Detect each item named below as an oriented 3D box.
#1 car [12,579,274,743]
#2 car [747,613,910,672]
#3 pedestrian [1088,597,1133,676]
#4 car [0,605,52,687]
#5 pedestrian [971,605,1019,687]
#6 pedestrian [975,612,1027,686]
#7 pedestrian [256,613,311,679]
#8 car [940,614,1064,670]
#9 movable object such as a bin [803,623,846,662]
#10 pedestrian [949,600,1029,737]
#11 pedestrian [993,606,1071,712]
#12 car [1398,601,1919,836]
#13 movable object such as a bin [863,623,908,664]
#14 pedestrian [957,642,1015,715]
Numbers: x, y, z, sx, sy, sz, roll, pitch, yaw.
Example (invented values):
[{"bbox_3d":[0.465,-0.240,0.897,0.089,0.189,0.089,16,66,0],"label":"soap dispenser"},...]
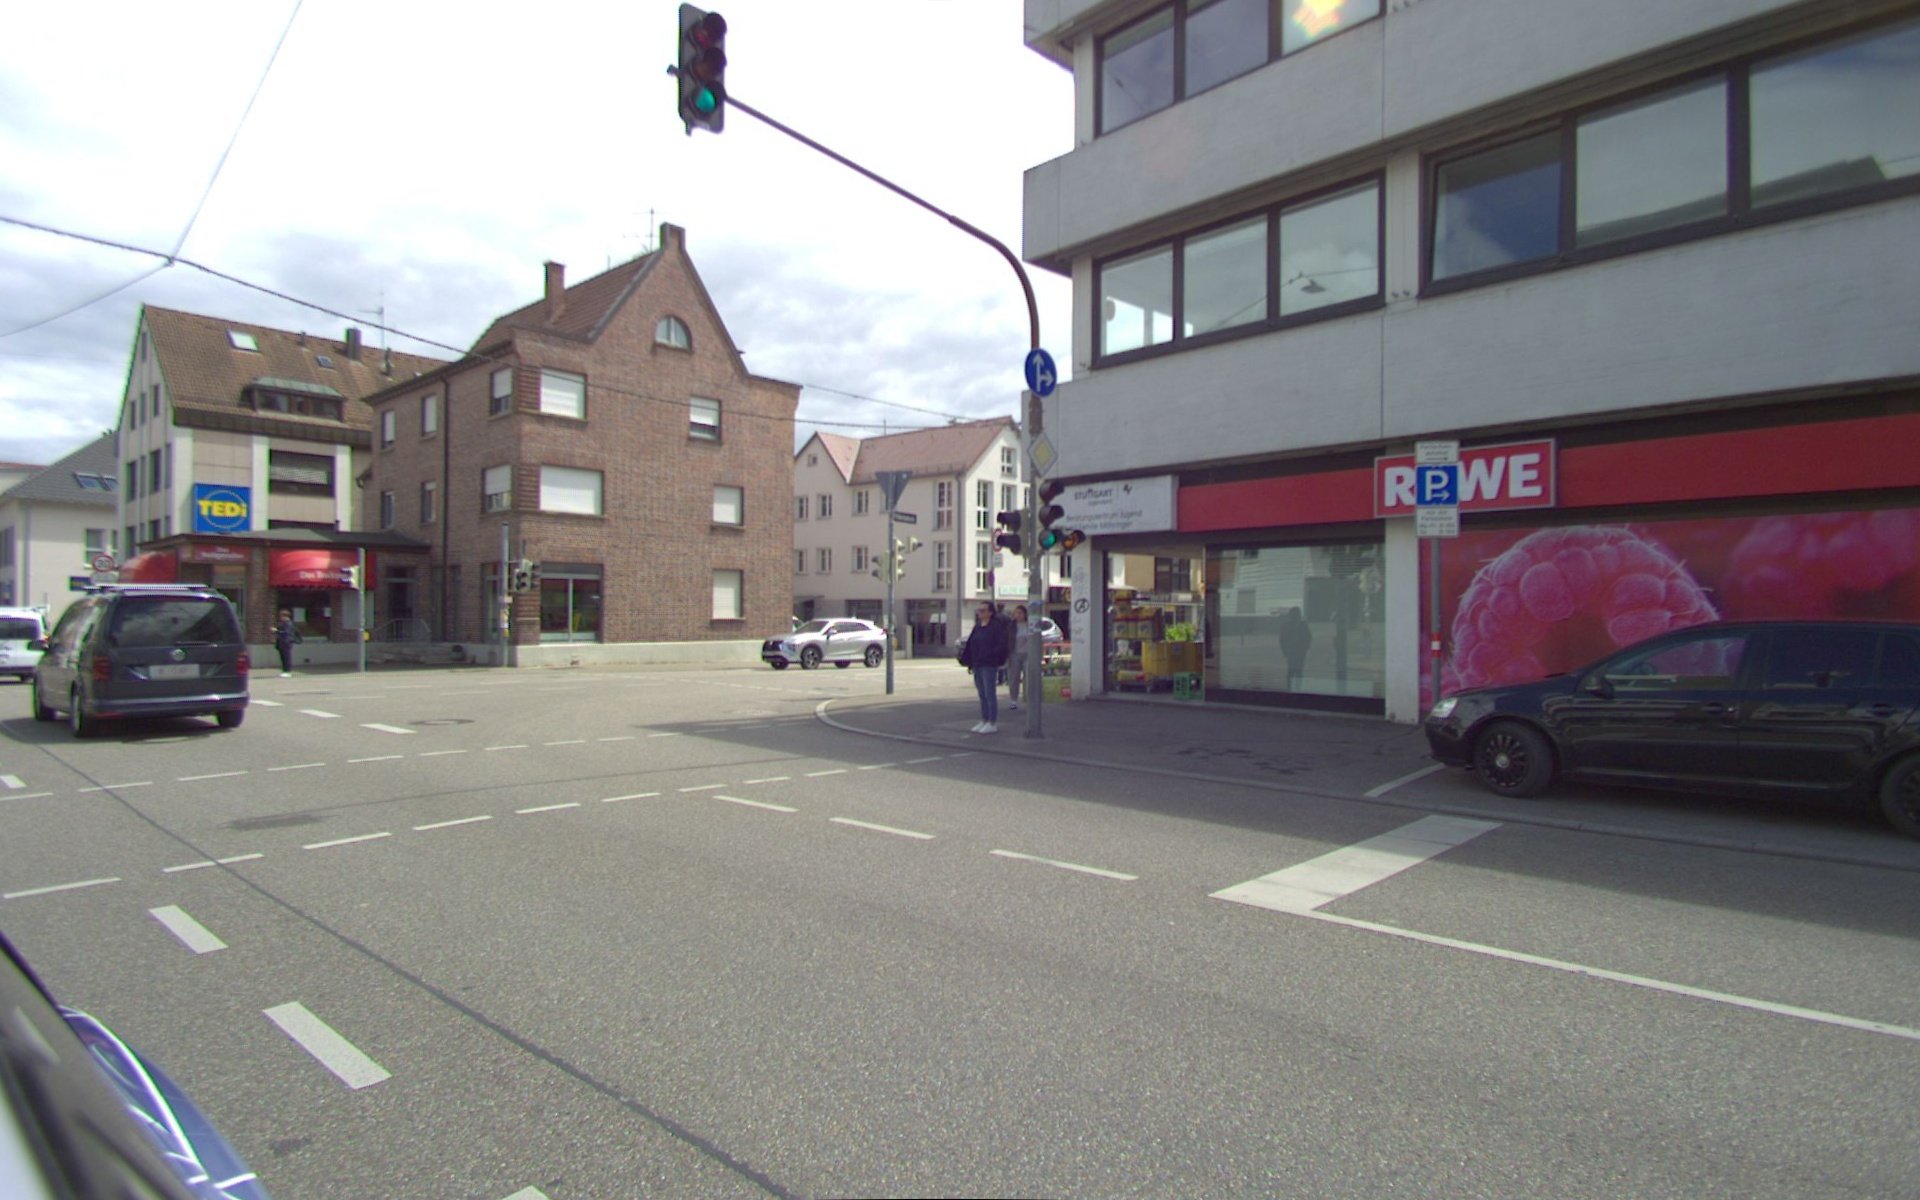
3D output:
[{"bbox_3d":[-11.436,0.763,14.036,4.873,1.891,1.929,-1,-2,40],"label":"car"},{"bbox_3d":[-4.212,1.391,33.106,2.001,1.782,5.184,-3,-3,44],"label":"car"},{"bbox_3d":[3.413,0.819,22.892,0.815,1.753,0.840,-1,-1,20],"label":"pedestrian"},{"bbox_3d":[-24.361,1.127,25.435,4.111,1.945,1.795,-2,-3,42],"label":"car"},{"bbox_3d":[0.771,0.994,22.157,0.815,1.753,0.840,-1,-1,21],"label":"pedestrian"},{"bbox_3d":[0.941,1.116,23.343,0.832,1.663,0.823,-1,-1,-37],"label":"pedestrian"},{"bbox_3d":[-18.081,1.224,27.054,0.839,1.736,0.907,0,-2,-1],"label":"pedestrian"},{"bbox_3d":[1.494,1.416,34.619,1.999,1.768,4.291,-2,-3,41],"label":"car"},{"bbox_3d":[-6.054,1.866,45.134,1.145,1.637,1.498,-1,0,44],"label":"movable object such as a bin"},{"bbox_3d":[0.365,0.837,12.742,0.709,1.657,0.682,0,-1,-44],"label":"pedestrian"},{"bbox_3d":[1.110,0.894,15.655,0.809,1.566,0.846,-1,-1,-43],"label":"pedestrian"},{"bbox_3d":[6.002,0.776,7.932,4.285,1.486,2.022,-2,-1,43],"label":"car"},{"bbox_3d":[-3.150,1.828,42.821,1.145,1.637,1.498,-1,0,44],"label":"movable object such as a bin"},{"bbox_3d":[0.397,1.180,15.462,0.552,1.065,0.663,-1,-1,-43],"label":"pedestrian"}]
